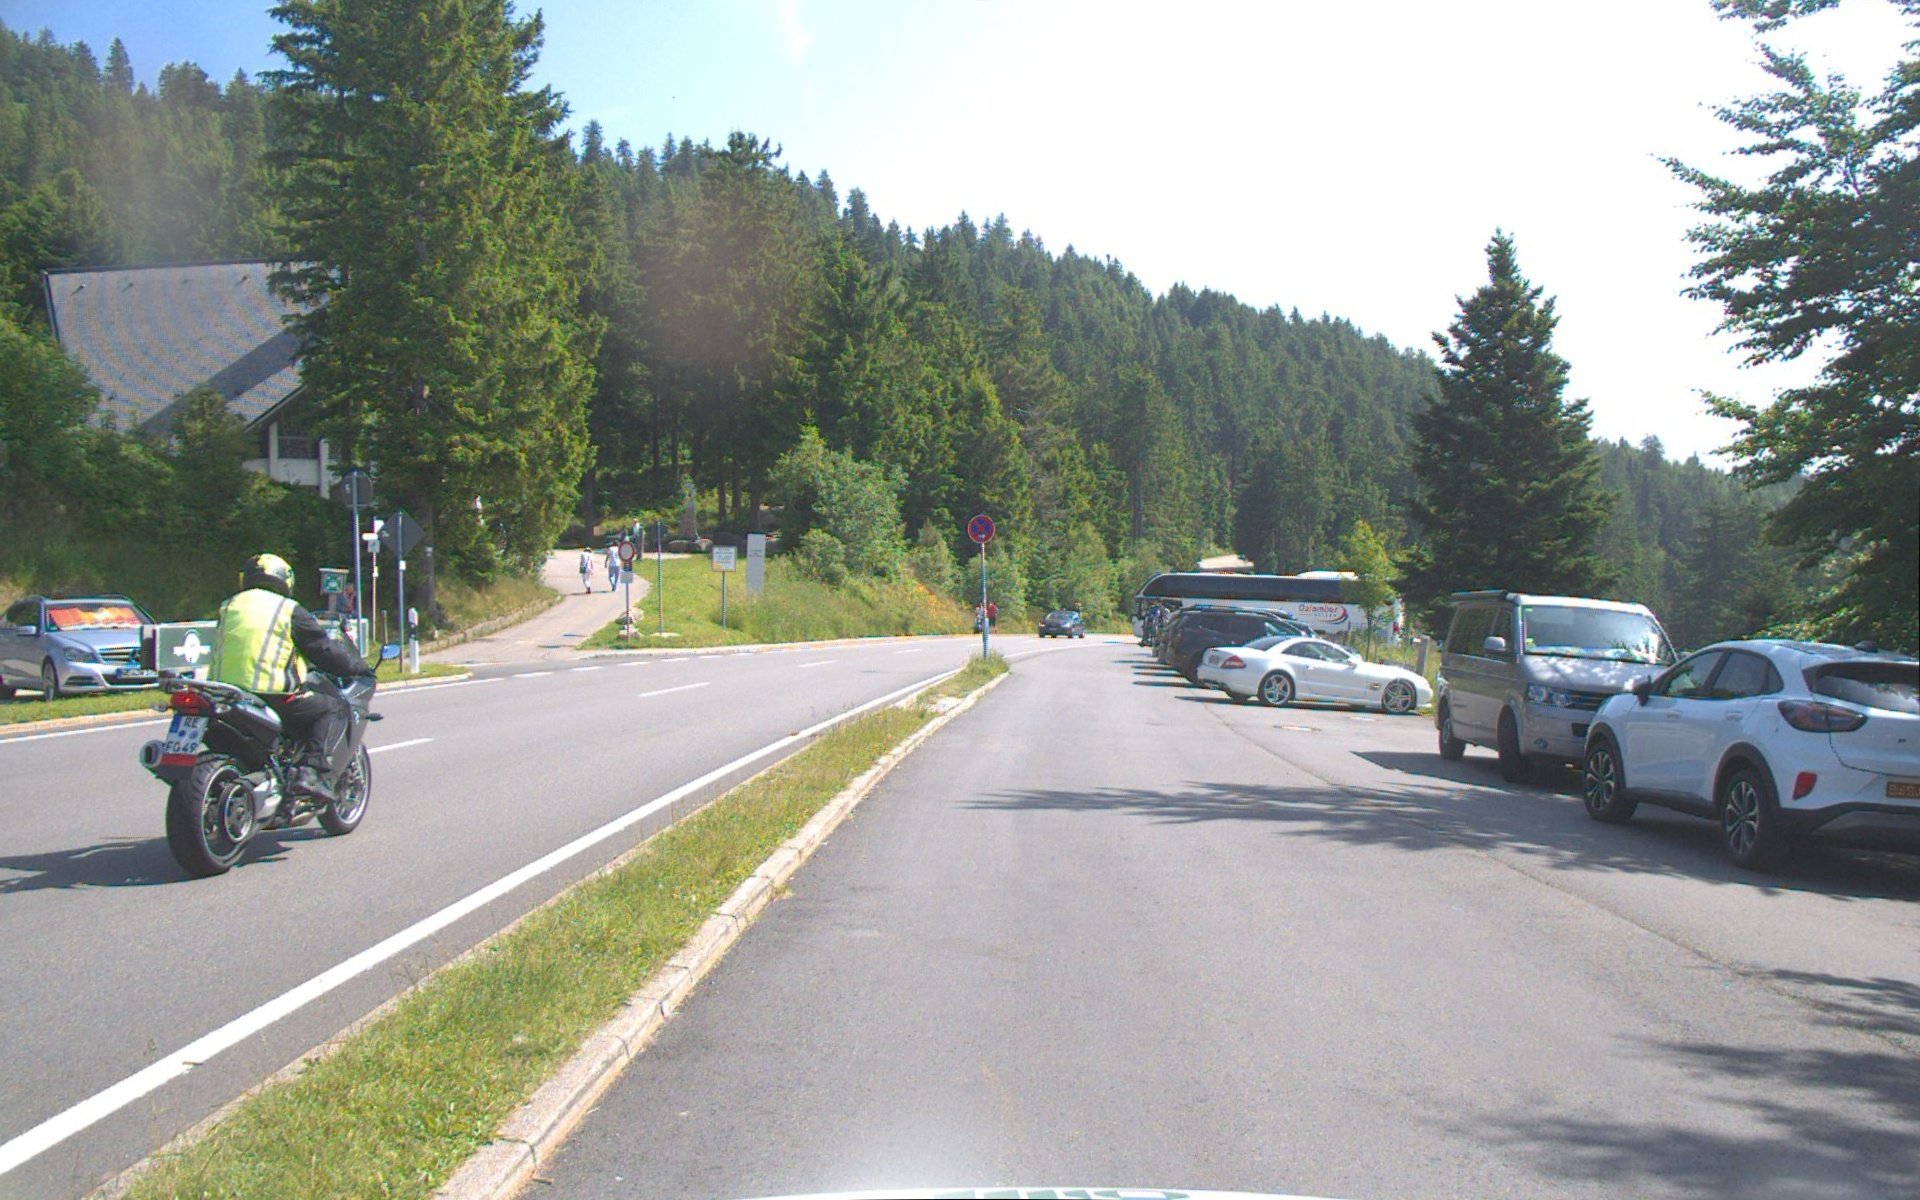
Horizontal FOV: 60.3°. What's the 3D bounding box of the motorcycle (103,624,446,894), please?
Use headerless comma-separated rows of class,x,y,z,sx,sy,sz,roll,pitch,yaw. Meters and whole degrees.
motorcycle,-3.584,0.766,8.934,0.805,1.197,2.287,1,0,2

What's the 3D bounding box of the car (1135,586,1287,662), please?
car,6.889,0.632,45.710,3.904,1.749,1.868,4,2,3

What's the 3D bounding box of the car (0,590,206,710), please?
car,-12.064,0.643,22.921,1.731,1.466,3.906,-3,2,-44

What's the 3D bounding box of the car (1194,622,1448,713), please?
car,6.765,1.259,31.070,4.378,1.321,1.577,5,0,-14

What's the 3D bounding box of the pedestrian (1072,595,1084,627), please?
pedestrian,7.598,0.695,106.776,0.717,2.049,0.862,-1,-1,2

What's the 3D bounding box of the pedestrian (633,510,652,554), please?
pedestrian,-15.231,-3.255,79.367,0.799,2.048,0.852,-1,1,-6

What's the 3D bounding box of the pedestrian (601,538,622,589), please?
pedestrian,-12.621,-1.308,59.985,0.639,1.831,0.642,-1,-1,-4

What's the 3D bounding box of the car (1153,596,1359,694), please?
car,6.329,0.943,35.674,3.910,1.728,1.998,4,1,-5

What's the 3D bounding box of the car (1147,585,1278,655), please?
car,7.983,0.618,52.683,3.904,1.845,1.941,4,2,5

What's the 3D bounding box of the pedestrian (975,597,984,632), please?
pedestrian,1.024,0.739,86.178,0.406,1.777,0.457,-1,1,2

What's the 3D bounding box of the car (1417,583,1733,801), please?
car,6.708,0.895,18.664,1.866,2.006,4.821,4,0,3

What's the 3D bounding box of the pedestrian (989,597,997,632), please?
pedestrian,1.717,0.740,85.561,0.386,1.777,0.406,-1,1,2

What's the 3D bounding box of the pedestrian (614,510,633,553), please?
pedestrian,-16.260,-3.324,79.897,0.782,2.048,0.939,-1,1,-6

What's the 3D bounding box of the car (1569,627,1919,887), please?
car,6.099,1.036,12.273,1.645,1.544,4.050,4,-1,1

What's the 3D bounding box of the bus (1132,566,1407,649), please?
bus,14.702,0.266,78.872,12.593,3.640,2.983,1,2,19

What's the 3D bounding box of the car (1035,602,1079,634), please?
car,5.307,0.958,90.189,1.951,1.691,4.004,0,0,10

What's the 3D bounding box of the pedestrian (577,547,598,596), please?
pedestrian,-13.338,-1.018,59.196,0.639,1.696,0.642,-1,-1,-4

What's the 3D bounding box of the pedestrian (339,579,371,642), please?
pedestrian,-15.510,0.264,42.405,0.565,1.559,0.553,-1,1,2

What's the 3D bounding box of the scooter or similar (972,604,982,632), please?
scooter or similar,0.884,0.940,85.559,0.473,1.404,0.817,-1,1,2

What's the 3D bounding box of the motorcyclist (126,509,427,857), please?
motorcyclist,-3.609,0.406,8.868,1.004,1.704,1.293,1,0,2
